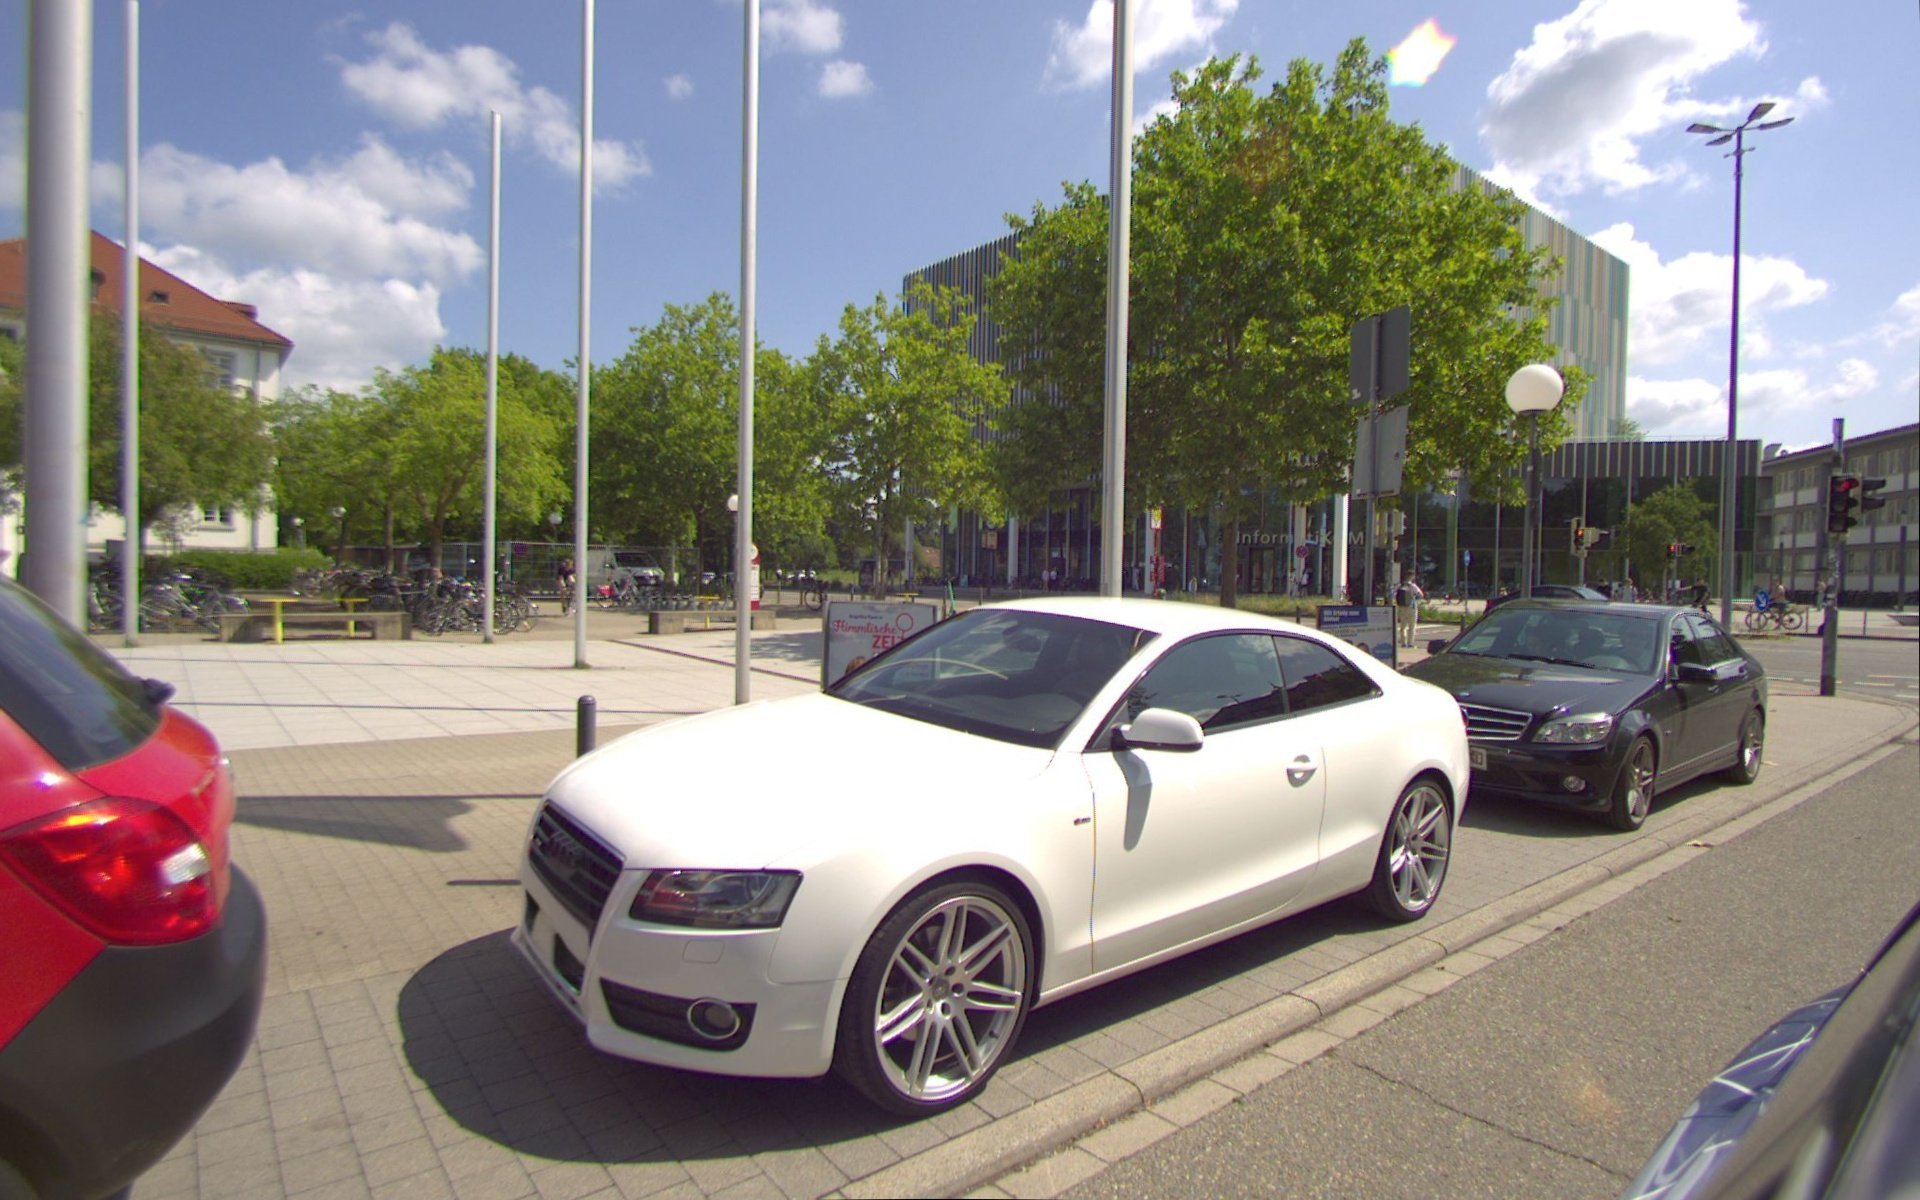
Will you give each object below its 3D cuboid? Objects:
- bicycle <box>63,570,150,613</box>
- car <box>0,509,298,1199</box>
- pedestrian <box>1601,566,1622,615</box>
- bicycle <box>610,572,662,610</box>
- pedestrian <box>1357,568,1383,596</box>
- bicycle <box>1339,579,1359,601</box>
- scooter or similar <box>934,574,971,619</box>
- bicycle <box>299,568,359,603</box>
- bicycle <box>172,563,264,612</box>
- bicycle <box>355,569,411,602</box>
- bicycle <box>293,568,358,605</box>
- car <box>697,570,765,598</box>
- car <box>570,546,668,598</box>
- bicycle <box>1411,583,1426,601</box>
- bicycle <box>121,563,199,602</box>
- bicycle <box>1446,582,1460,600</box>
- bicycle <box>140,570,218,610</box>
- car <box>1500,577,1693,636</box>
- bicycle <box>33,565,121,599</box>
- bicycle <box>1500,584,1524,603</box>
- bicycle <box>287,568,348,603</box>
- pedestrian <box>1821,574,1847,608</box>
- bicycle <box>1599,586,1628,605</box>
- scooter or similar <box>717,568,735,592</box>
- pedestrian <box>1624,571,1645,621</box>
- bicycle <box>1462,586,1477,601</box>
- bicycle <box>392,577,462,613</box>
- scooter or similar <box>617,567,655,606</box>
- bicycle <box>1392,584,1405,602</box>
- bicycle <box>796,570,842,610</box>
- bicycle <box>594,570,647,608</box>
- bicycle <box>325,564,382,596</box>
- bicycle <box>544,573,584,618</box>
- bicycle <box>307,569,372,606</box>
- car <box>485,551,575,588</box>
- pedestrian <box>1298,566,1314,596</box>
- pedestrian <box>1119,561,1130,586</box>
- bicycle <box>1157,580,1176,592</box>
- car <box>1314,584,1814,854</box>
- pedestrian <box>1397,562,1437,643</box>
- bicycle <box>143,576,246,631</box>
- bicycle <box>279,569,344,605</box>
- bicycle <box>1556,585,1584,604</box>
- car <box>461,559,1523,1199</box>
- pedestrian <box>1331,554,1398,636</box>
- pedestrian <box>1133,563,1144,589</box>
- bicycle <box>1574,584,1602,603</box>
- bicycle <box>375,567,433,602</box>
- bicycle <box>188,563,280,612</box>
[{"bbox_3d":[-23.726,-0.246,28.175,0.596,1.112,1.757,0,3,20],"label":"bicycle"},{"bbox_3d":[-3.337,0.561,1.250,4.072,1.514,1.619,0,4,-39],"label":"car"},{"bbox_3d":[24.956,-0.371,38.781,0.629,1.864,0.473,1,2,37],"label":"pedestrian"},{"bbox_3d":[-10.135,-0.313,31.740,0.596,1.112,1.757,0,3,20],"label":"bicycle"},{"bbox_3d":[25.237,-1.105,62.304,1.161,1.671,1.014,0,1,-38],"label":"pedestrian"},{"bbox_3d":[22.245,-0.580,57.891,1.520,1.201,0.373,-3,4,-41],"label":"bicycle"},{"bbox_3d":[-0.209,-0.097,27.714,0.347,1.179,1.192,-2,3,-38],"label":"scooter or similar"},{"bbox_3d":[-21.307,-0.509,34.192,0.509,1.112,1.757,0,3,20],"label":"bicycle"},{"bbox_3d":[-18.170,-0.328,24.822,0.596,1.112,1.757,0,3,20],"label":"bicycle"},{"bbox_3d":[-20.504,-0.540,35.993,0.596,1.112,1.757,0,3,20],"label":"bicycle"},{"bbox_3d":[-20.455,-0.452,32.673,0.596,1.112,1.757,0,3,20],"label":"bicycle"},{"bbox_3d":[-13.133,-0.913,57.917,1.828,1.497,4.938,2,0,-38],"label":"car"},{"bbox_3d":[-13.316,-1.135,39.330,1.871,1.887,4.934,-1,3,-41],"label":"car"},{"bbox_3d":[25.935,-0.450,57.290,0.368,0.967,1.767,1,2,12],"label":"bicycle"},{"bbox_3d":[-23.919,-0.551,30.291,0.596,1.112,1.757,0,3,20],"label":"bicycle"},{"bbox_3d":[27.589,-0.510,56.616,0.525,0.967,1.754,1,2,31],"label":"bicycle"},{"bbox_3d":[-23.057,-0.322,29.909,0.596,1.112,1.757,0,3,20],"label":"bicycle"},{"bbox_3d":[17.689,0.119,28.322,1.795,1.433,4.193,-1,3,-34],"label":"car"},{"bbox_3d":[-24.669,-0.508,28.311,0.596,0.880,1.757,0,3,20],"label":"bicycle"},{"bbox_3d":[30.433,-0.387,55.791,0.520,0.967,1.771,1,3,7],"label":"bicycle"},{"bbox_3d":[-21.862,-0.518,34.452,0.585,1.112,1.757,0,3,20],"label":"bicycle"},{"bbox_3d":[46.647,-0.484,54.003,0.833,1.812,0.673,1,1,22],"label":"pedestrian"},{"bbox_3d":[35.345,-0.262,54.717,0.520,0.967,1.772,1,2,5],"label":"bicycle"},{"bbox_3d":[-11.747,-0.999,50.759,0.519,1.184,1.577,2,0,-25],"label":"scooter or similar"},{"bbox_3d":[25.464,-0.171,38.219,0.409,1.864,0.574,-2,2,-44],"label":"pedestrian"},{"bbox_3d":[28.314,-0.392,56.264,0.522,0.773,1.763,1,2,19],"label":"bicycle"},{"bbox_3d":[-14.637,-0.155,27.833,0.596,0.966,1.756,0,1,20],"label":"bicycle"},{"bbox_3d":[-10.762,-0.451,33.639,0.279,1.248,1.282,3,3,36],"label":"scooter or similar"},{"bbox_3d":[24.875,-0.429,57.407,0.368,0.967,1.541,1,2,12],"label":"bicycle"},{"bbox_3d":[-4.467,-0.329,31.949,0.784,1.197,2.034,-1,3,-28],"label":"bicycle"},{"bbox_3d":[-10.743,-0.364,32.082,0.596,1.112,1.757,0,3,20],"label":"bicycle"},{"bbox_3d":[-21.744,-0.734,36.332,0.596,1.112,1.757,0,3,20],"label":"bicycle"},{"bbox_3d":[-10.620,-0.129,27.118,0.596,1.152,1.588,2,1,-36],"label":"bicycle"},{"bbox_3d":[-19.811,-0.427,32.359,0.596,1.112,1.757,0,3,20],"label":"bicycle"},{"bbox_3d":[-22.631,-1.640,53.319,3.932,1.804,1.997,-3,4,-42],"label":"car"},{"bbox_3d":[21.760,-1.208,63.623,0.677,1.864,0.679,-1,2,-31],"label":"pedestrian"},{"bbox_3d":[12.123,-1.960,74.627,0.553,1.864,0.553,2,2,44],"label":"pedestrian"},{"bbox_3d":[14.176,-0.944,69.466,1.517,0.785,0.373,-2,3,-36],"label":"bicycle"},{"bbox_3d":[4.885,0.636,7.838,4.860,1.417,1.723,0,4,-39],"label":"car"},{"bbox_3d":[10.553,0.051,23.381,0.599,1.823,0.596,2,0,-2],"label":"pedestrian"},{"bbox_3d":[-16.859,0.045,22.347,0.596,1.112,1.757,0,3,20],"label":"bicycle"},{"bbox_3d":[-21.098,-0.447,32.949,0.596,1.112,1.757,0,3,20],"label":"bicycle"},{"bbox_3d":[33.125,-0.317,54.962,0.520,0.967,1.772,1,2,5],"label":"bicycle"},{"bbox_3d":[0.488,0.613,4.240,4.359,1.416,1.723,-1,4,-39],"label":"car"},{"bbox_3d":[9.730,-0.118,24.356,1.153,1.842,0.857,5,1,-36],"label":"pedestrian"},{"bbox_3d":[12.881,-1.724,73.172,0.553,1.864,0.553,2,2,44],"label":"pedestrian"},{"bbox_3d":[33.997,-0.342,54.795,0.520,0.967,1.772,1,2,5],"label":"bicycle"},{"bbox_3d":[-18.847,-0.537,34.329,0.596,1.112,1.757,0,3,20],"label":"bicycle"},{"bbox_3d":[-17.541,-0.330,24.504,0.596,1.112,1.757,0,3,20],"label":"bicycle"}]
